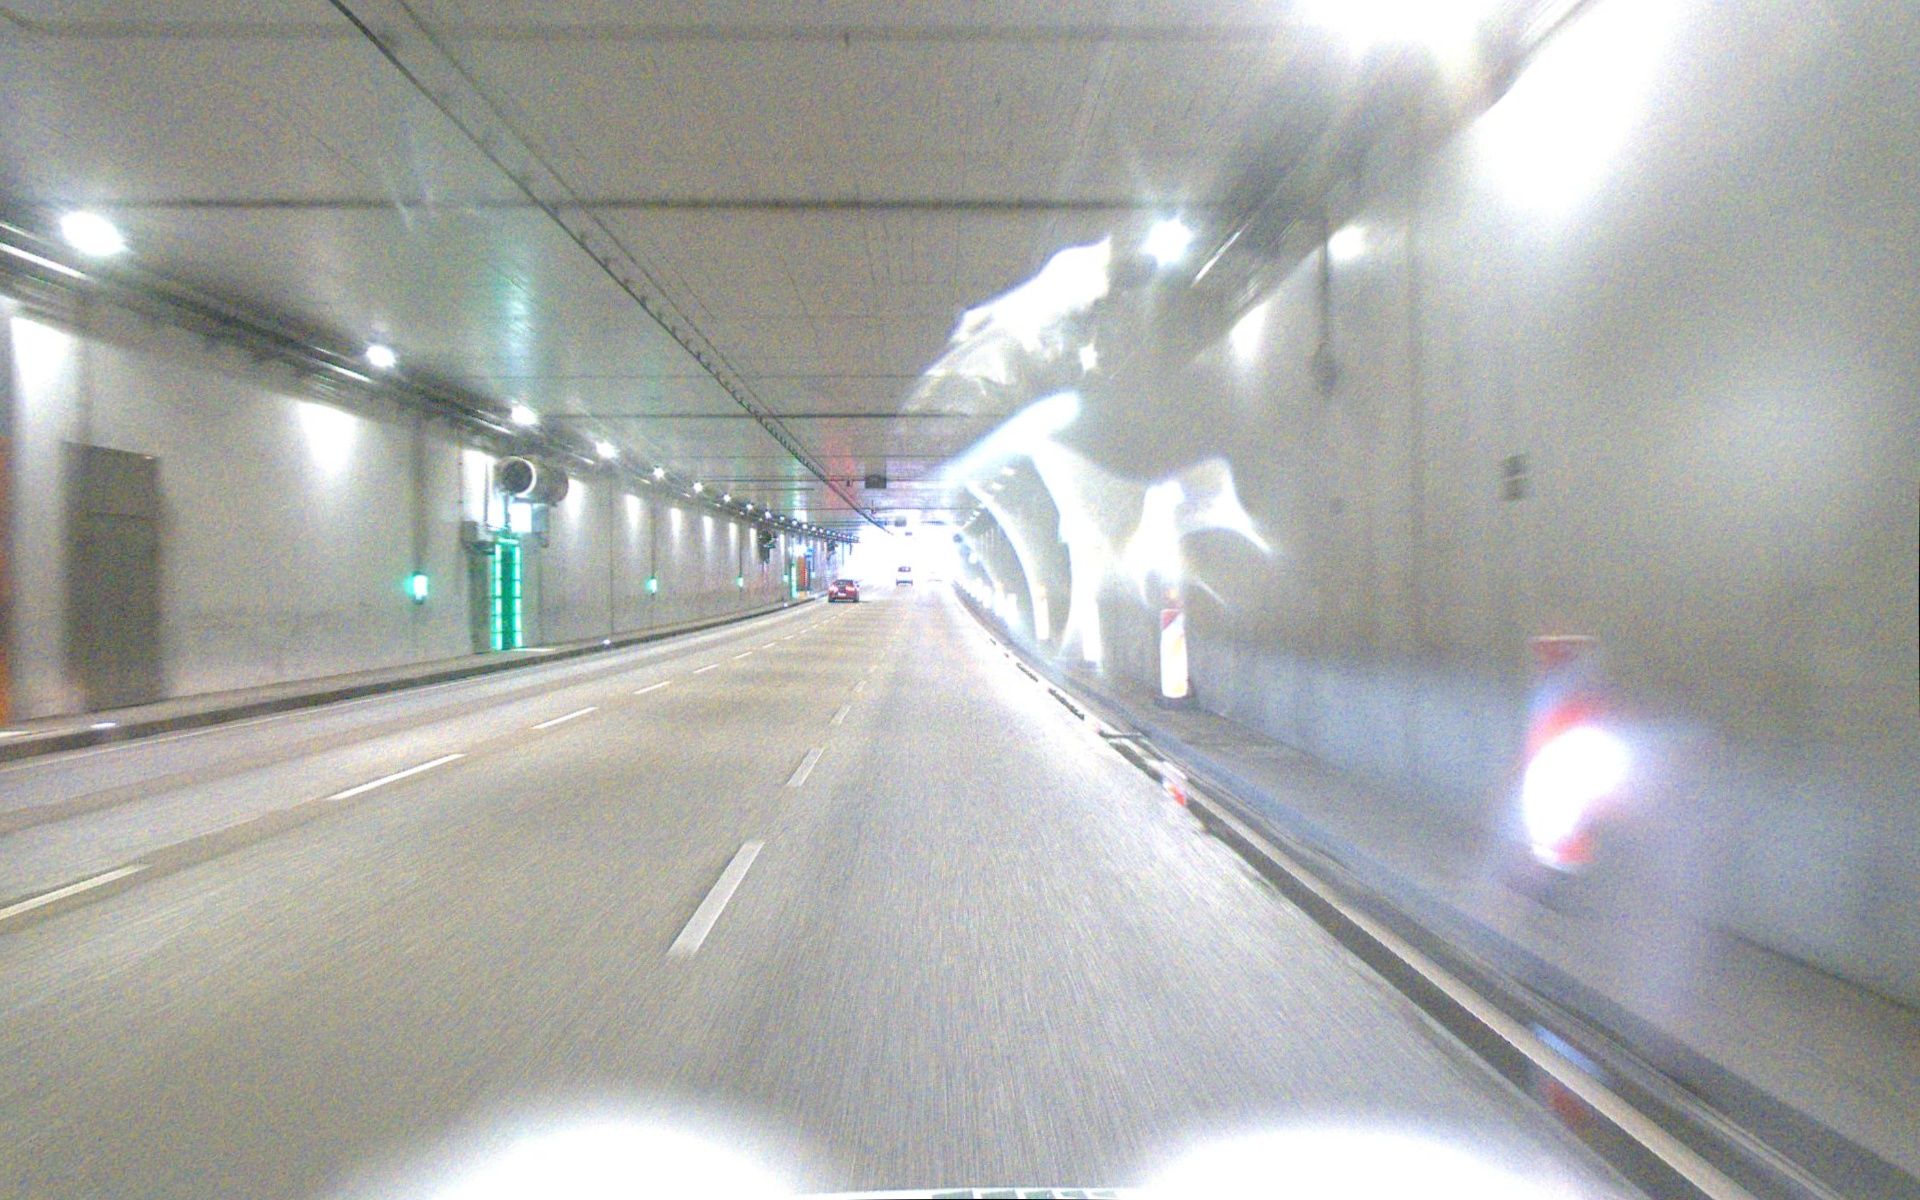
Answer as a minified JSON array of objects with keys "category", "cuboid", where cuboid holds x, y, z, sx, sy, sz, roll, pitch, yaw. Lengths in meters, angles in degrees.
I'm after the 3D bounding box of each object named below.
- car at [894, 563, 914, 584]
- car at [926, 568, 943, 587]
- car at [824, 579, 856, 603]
[{"category":"car","cuboid":[-5.688,-2.682,169.202,1.953,2.049,3.999,0,0,-1]},{"category":"car","cuboid":[-2.860,-2.518,186.457,1.953,2.049,3.999,0,0,-1]},{"category":"car","cuboid":[-7.679,-0.593,105.668,1.955,1.473,4.310,1,1,-5]}]
